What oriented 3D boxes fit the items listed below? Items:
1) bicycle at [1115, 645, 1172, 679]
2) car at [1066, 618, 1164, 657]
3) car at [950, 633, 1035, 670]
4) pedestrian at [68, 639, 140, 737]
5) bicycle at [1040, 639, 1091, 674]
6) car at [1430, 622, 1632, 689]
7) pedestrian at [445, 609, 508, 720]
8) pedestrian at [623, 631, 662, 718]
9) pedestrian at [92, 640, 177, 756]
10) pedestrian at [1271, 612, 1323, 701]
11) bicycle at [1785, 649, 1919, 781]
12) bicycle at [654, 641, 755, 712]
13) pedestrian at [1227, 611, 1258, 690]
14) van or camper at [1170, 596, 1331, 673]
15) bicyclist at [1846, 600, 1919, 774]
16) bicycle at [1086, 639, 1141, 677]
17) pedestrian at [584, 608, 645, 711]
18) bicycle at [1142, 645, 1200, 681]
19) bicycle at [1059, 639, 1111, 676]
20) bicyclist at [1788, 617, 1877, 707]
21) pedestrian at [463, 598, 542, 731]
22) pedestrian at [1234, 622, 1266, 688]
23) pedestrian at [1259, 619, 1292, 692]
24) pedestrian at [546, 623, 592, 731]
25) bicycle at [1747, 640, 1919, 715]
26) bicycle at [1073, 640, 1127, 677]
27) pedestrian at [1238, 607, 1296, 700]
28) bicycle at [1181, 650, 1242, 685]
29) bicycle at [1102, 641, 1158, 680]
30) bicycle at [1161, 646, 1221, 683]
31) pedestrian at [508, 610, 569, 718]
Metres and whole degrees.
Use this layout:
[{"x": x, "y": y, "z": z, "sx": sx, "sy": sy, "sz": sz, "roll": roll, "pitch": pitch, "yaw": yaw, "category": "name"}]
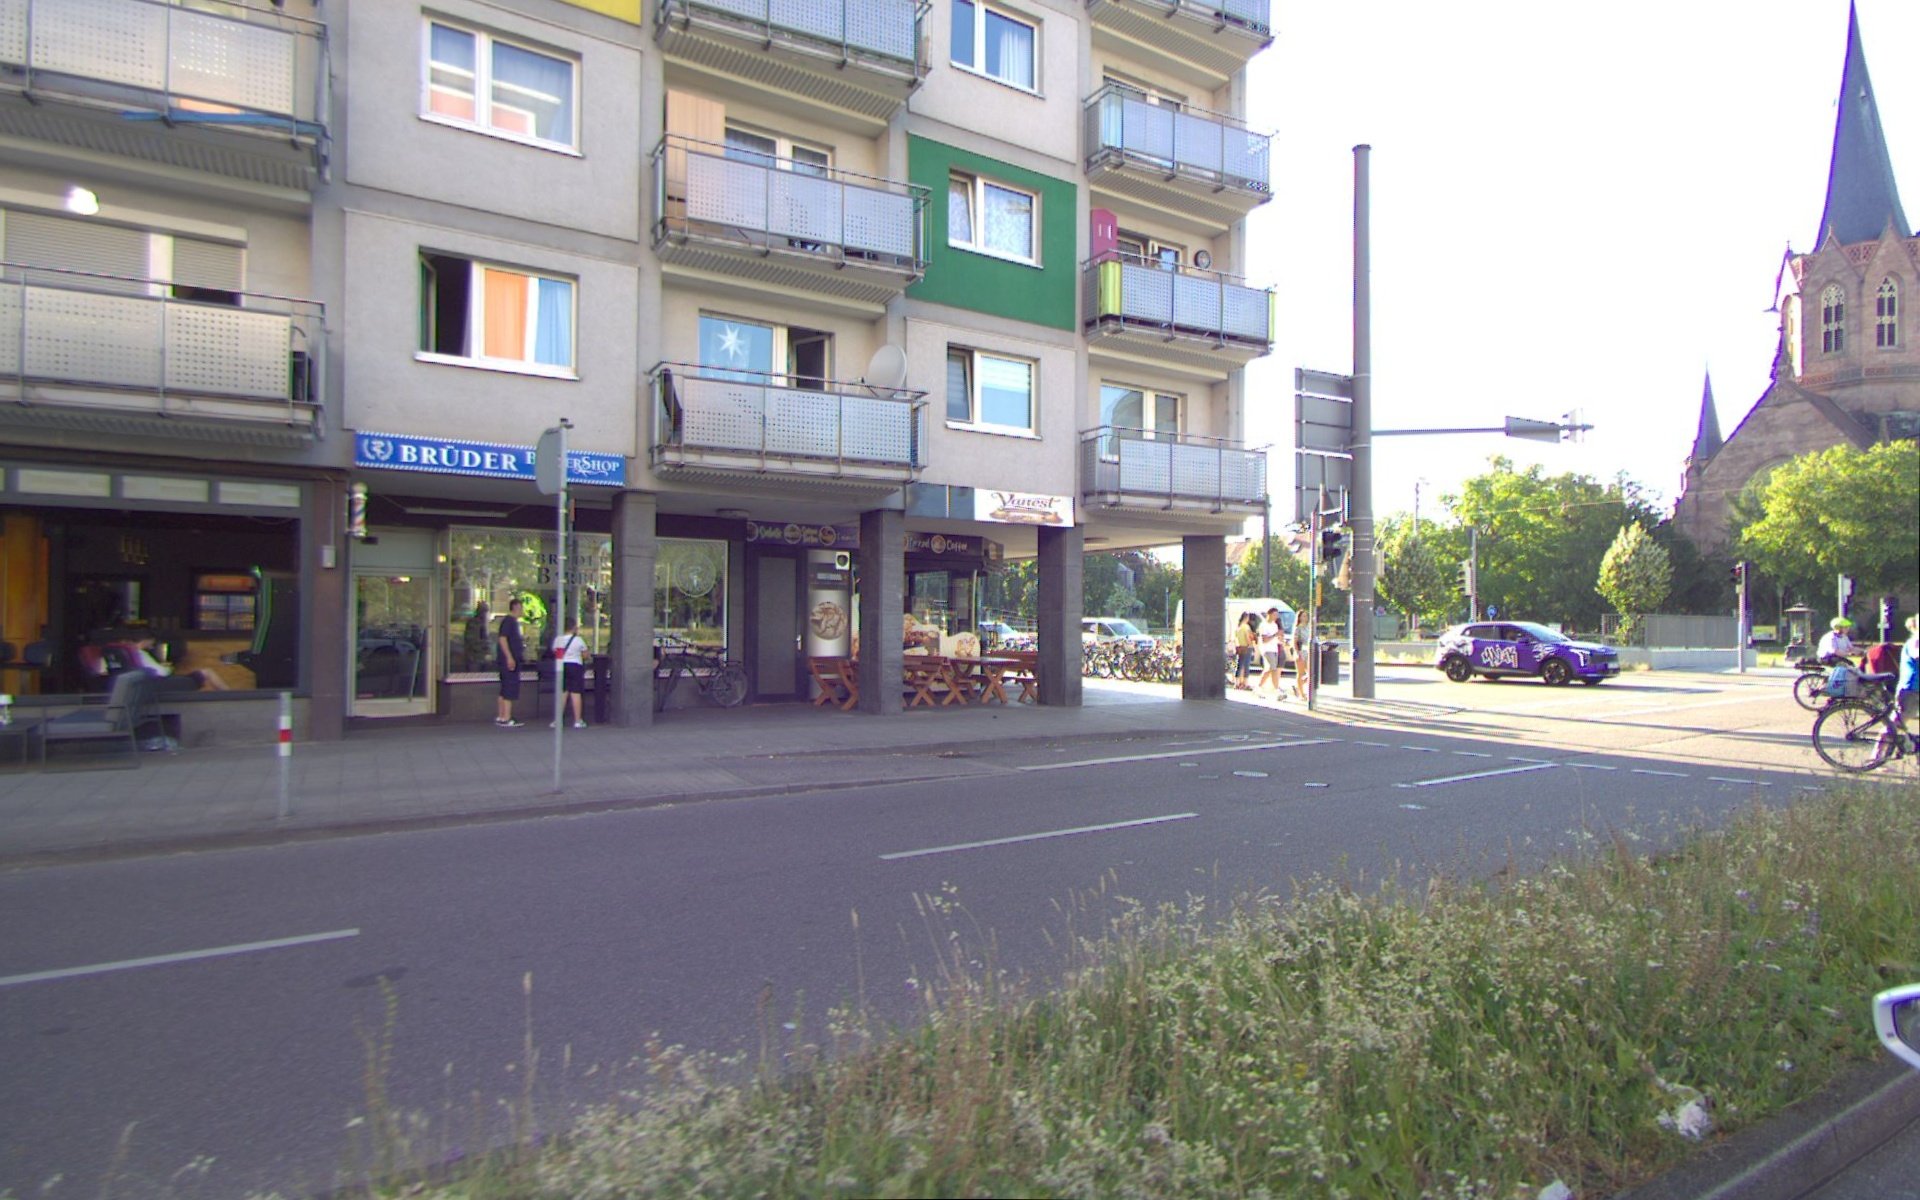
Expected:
[{"x": 5.100, "y": 1.713, "z": 27.893, "sx": 1.685, "sy": 0.919, "sz": 0.493, "roll": 1, "pitch": -1, "yaw": -32, "category": "bicycle"}, {"x": 6.946, "y": 1.668, "z": 45.516, "sx": 2.096, "sy": 1.694, "sz": 4.433, "roll": 1, "pitch": -2, "yaw": -31, "category": "car"}, {"x": 1.504, "y": 2.435, "z": 48.000, "sx": 1.939, "sy": 1.640, "sz": 4.461, "roll": 1, "pitch": -2, "yaw": -31, "category": "car"}, {"x": -9.979, "y": 1.005, "z": 11.717, "sx": 0.544, "sy": 1.094, "sz": 0.521, "roll": -1, "pitch": -1, "yaw": 36, "category": "pedestrian"}, {"x": 3.280, "y": 1.733, "z": 31.226, "sx": 0.491, "sy": 1.049, "sz": 1.928, "roll": -1, "pitch": -2, "yaw": 44, "category": "bicycle"}, {"x": 15.011, "y": 1.400, "z": 26.651, "sx": 1.814, "sy": 1.594, "sz": 4.383, "roll": 1, "pitch": -1, "yaw": -29, "category": "car"}, {"x": -7.154, "y": 0.938, "z": 14.859, "sx": 0.778, "sy": 1.599, "sz": 0.558, "roll": 1, "pitch": -1, "yaw": -31, "category": "pedestrian"}, {"x": -4.737, "y": 1.096, "z": 15.000, "sx": 0.522, "sy": 1.256, "sz": 0.556, "roll": 1, "pitch": -1, "yaw": -17, "category": "pedestrian"}, {"x": -9.037, "y": 1.053, "z": 11.007, "sx": 0.513, "sy": 1.219, "sz": 0.552, "roll": 0, "pitch": -1, "yaw": 27, "category": "pedestrian"}, {"x": 6.694, "y": 1.110, "z": 19.984, "sx": 0.664, "sy": 1.731, "sz": 0.752, "roll": 1, "pitch": -1, "yaw": -22, "category": "pedestrian"}, {"x": 9.222, "y": 1.099, "z": 9.687, "sx": 0.726, "sy": 1.204, "sz": 1.818, "roll": 1, "pitch": -1, "yaw": -32, "category": "bicycle"}, {"x": -4.104, "y": 1.213, "z": 16.158, "sx": 1.441, "sy": 1.095, "sz": 0.584, "roll": 2, "pitch": -2, "yaw": -34, "category": "bicycle"}, {"x": 6.562, "y": 1.167, "z": 23.329, "sx": 0.464, "sy": 1.792, "sz": 0.550, "roll": 1, "pitch": -1, "yaw": -29, "category": "pedestrian"}, {"x": 9.856, "y": 1.154, "z": 34.616, "sx": 2.139, "sy": 2.448, "sz": 5.396, "roll": 1, "pitch": -1, "yaw": -30, "category": "van or camper"}, {"x": 9.568, "y": 0.852, "z": 10.088, "sx": 0.891, "sy": 1.682, "sz": 0.778, "roll": 1, "pitch": -1, "yaw": -33, "category": "bicyclist"}, {"x": 4.464, "y": 1.673, "z": 29.146, "sx": 1.685, "sy": 1.044, "sz": 0.493, "roll": 1, "pitch": -1, "yaw": -32, "category": "bicycle"}, {"x": -5.518, "y": 0.932, "z": 16.027, "sx": 0.780, "sy": 1.599, "sz": 0.557, "roll": 1, "pitch": -1, "yaw": -37, "category": "pedestrian"}, {"x": 5.675, "y": 1.684, "z": 26.977, "sx": 1.685, "sy": 0.919, "sz": 0.493, "roll": 1, "pitch": -1, "yaw": -32, "category": "bicycle"}, {"x": 3.794, "y": 1.732, "z": 30.420, "sx": 0.491, "sy": 1.049, "sz": 1.928, "roll": -1, "pitch": -2, "yaw": 44, "category": "bicycle"}, {"x": 15.192, "y": 1.054, "z": 17.494, "sx": 1.149, "sy": 1.506, "sz": 0.874, "roll": 1, "pitch": -1, "yaw": -33, "category": "bicyclist"}, {"x": -6.103, "y": 0.845, "z": 13.416, "sx": 0.764, "sy": 1.723, "sz": 0.561, "roll": 0, "pitch": -1, "yaw": 13, "category": "pedestrian"}, {"x": 6.949, "y": 1.305, "z": 24.067, "sx": 0.570, "sy": 1.550, "sz": 0.465, "roll": 1, "pitch": -1, "yaw": -32, "category": "pedestrian"}, {"x": 7.268, "y": 1.263, "z": 23.143, "sx": 0.566, "sy": 1.663, "sz": 0.468, "roll": 0, "pitch": -1, "yaw": -11, "category": "pedestrian"}, {"x": -5.175, "y": 1.008, "z": 13.324, "sx": 0.473, "sy": 1.402, "sz": 0.484, "roll": 0, "pitch": -1, "yaw": -11, "category": "pedestrian"}, {"x": 15.153, "y": 1.309, "z": 17.489, "sx": 1.149, "sy": 1.183, "sz": 2.031, "roll": 1, "pitch": -1, "yaw": -32, "category": "bicycle"}, {"x": 4.144, "y": 1.730, "z": 29.695, "sx": 1.685, "sy": 1.049, "sz": 0.493, "roll": 1, "pitch": -1, "yaw": -32, "category": "bicycle"}, {"x": 6.030, "y": 1.038, "z": 19.761, "sx": 0.664, "sy": 1.781, "sz": 0.921, "roll": 1, "pitch": -1, "yaw": -22, "category": "pedestrian"}, {"x": 6.474, "y": 1.733, "z": 25.824, "sx": 1.685, "sy": 0.851, "sz": 0.493, "roll": 1, "pitch": -1, "yaw": -32, "category": "bicycle"}, {"x": 4.826, "y": 1.698, "z": 28.471, "sx": 1.685, "sy": 1.052, "sz": 0.493, "roll": 1, "pitch": -1, "yaw": -32, "category": "bicycle"}, {"x": 6.102, "y": 1.692, "z": 26.511, "sx": 1.685, "sy": 0.919, "sz": 0.493, "roll": 1, "pitch": -1, "yaw": -32, "category": "bicycle"}, {"x": -6.436, "y": 0.960, "z": 15.343, "sx": 0.778, "sy": 1.599, "sz": 0.558, "roll": 1, "pitch": -1, "yaw": -31, "category": "pedestrian"}]
